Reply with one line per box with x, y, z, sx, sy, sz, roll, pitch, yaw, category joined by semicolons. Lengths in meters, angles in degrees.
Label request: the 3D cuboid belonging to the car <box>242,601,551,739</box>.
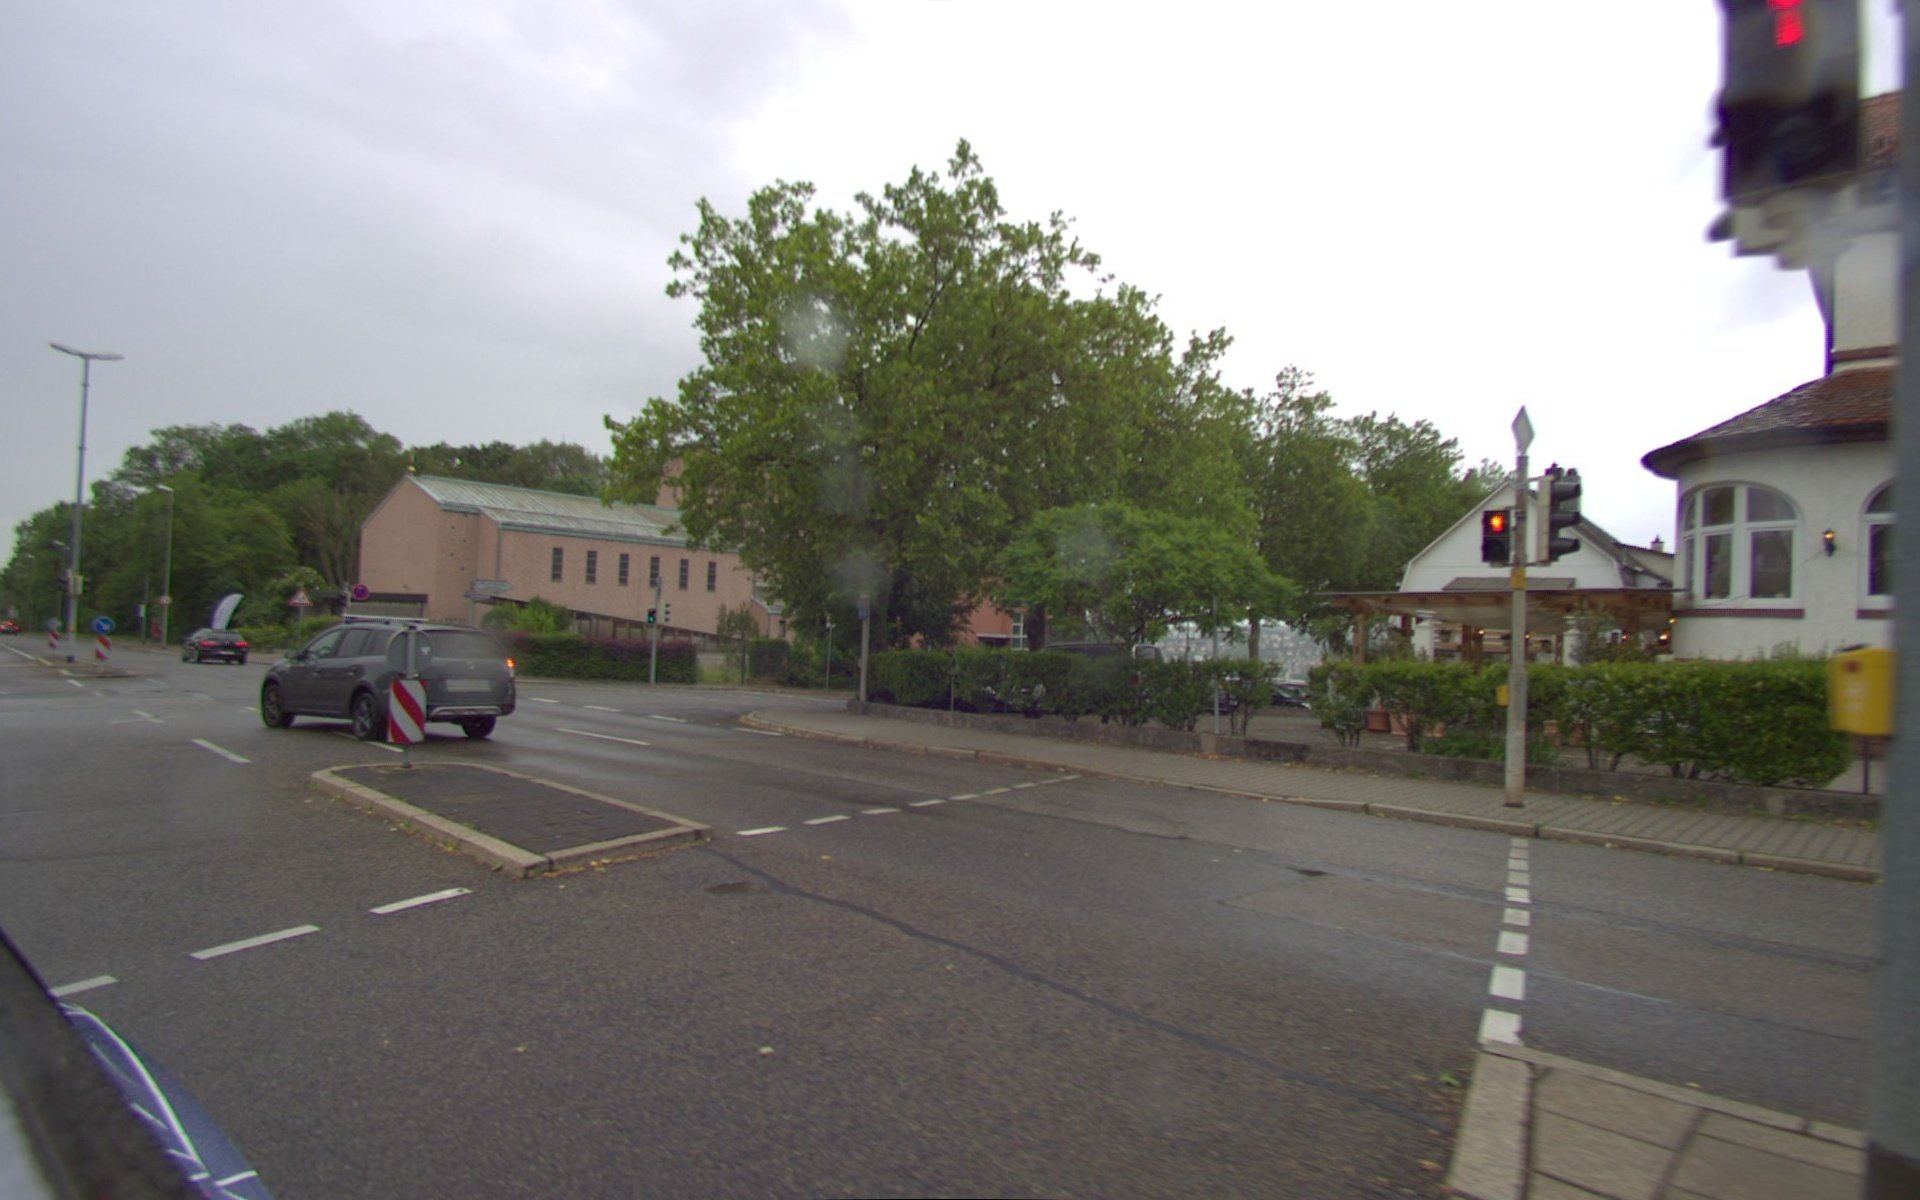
-8.011;0.932;14.309;4.290;1.674;1.978;-1;-4;33;car

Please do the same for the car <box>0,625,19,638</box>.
-125.141;4.155;133.004;4.305;1.674;1.971;-2;-5;45;car

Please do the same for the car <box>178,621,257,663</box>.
-31.317;1.769;42.642;4.305;1.674;1.971;-2;-5;45;car
